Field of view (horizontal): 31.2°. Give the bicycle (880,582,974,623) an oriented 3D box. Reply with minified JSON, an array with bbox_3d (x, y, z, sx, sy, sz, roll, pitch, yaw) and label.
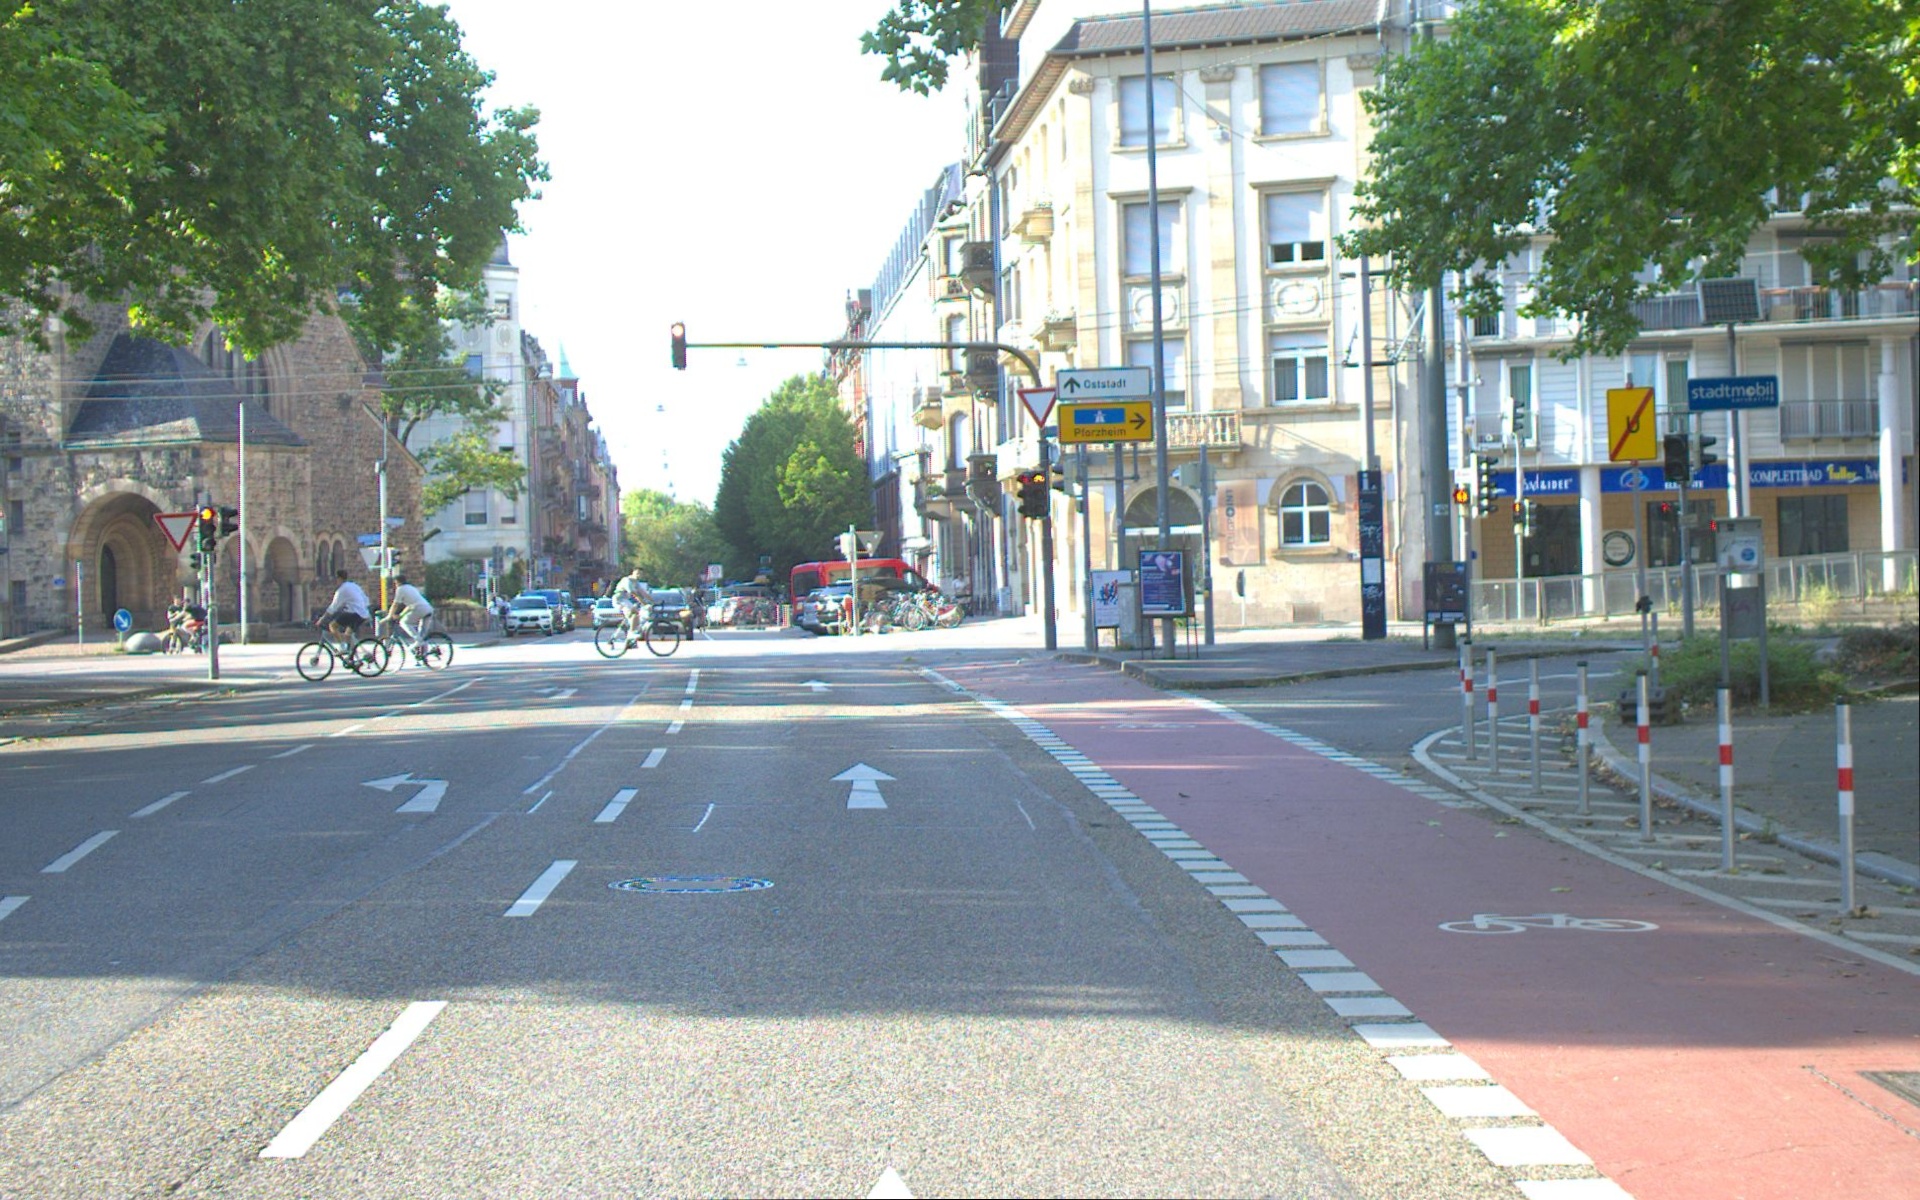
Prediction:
[{"bbox_3d":[-0.992,0.078,103.808,2.802,1.199,0.510,0,-1,-6],"label":"bicycle"}]

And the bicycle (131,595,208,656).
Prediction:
[{"bbox_3d":[-23.797,0.786,103.579,1.286,1.744,3.999,0,-1,1],"label":"bicycle"}]

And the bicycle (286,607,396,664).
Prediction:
[{"bbox_3d":[-10.830,0.624,60.174,1.785,0.978,0.656,0,-1,14],"label":"bicycle"}]

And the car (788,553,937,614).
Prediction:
[{"bbox_3d":[-3.459,-0.554,122.046,4.988,2.007,2.166,1,-2,-39],"label":"car"}]

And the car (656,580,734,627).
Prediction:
[{"bbox_3d":[-8.522,0.124,110.661,1.587,1.458,3.181,0,-1,14],"label":"car"}]

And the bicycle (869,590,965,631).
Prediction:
[{"bbox_3d":[-1.274,0.314,101.775,2.802,1.199,0.510,0,-1,-6],"label":"bicycle"}]

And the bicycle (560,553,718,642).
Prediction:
[{"bbox_3d":[-6.052,-0.052,64.848,2.842,1.650,0.830,0,-1,8],"label":"bicycle"}]

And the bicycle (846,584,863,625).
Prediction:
[{"bbox_3d":[-3.214,0.140,105.187,0.508,1.199,2.091,0,-1,-2],"label":"bicycle"}]

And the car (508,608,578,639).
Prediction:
[{"bbox_3d":[-16.592,0.940,136.891,1.595,1.140,3.381,0,-1,15],"label":"car"}]

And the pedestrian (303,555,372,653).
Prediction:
[{"bbox_3d":[-10.894,0.070,60.182,0.992,1.702,0.628,0,-2,15],"label":"pedestrian"}]

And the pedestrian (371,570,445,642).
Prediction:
[{"bbox_3d":[-9.938,0.116,61.876,1.050,1.273,0.791,0,-2,25],"label":"pedestrian"}]

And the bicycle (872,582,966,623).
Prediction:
[{"bbox_3d":[-1.230,0.067,103.101,2.802,1.199,0.517,0,-1,-6],"label":"bicycle"}]

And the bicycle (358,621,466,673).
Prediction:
[{"bbox_3d":[-9.863,0.844,61.831,1.783,0.892,0.749,-2,0,25],"label":"bicycle"}]

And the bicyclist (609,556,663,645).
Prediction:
[{"bbox_3d":[-6.113,0.011,64.887,0.802,1.651,0.934,0,-1,8],"label":"bicyclist"}]
